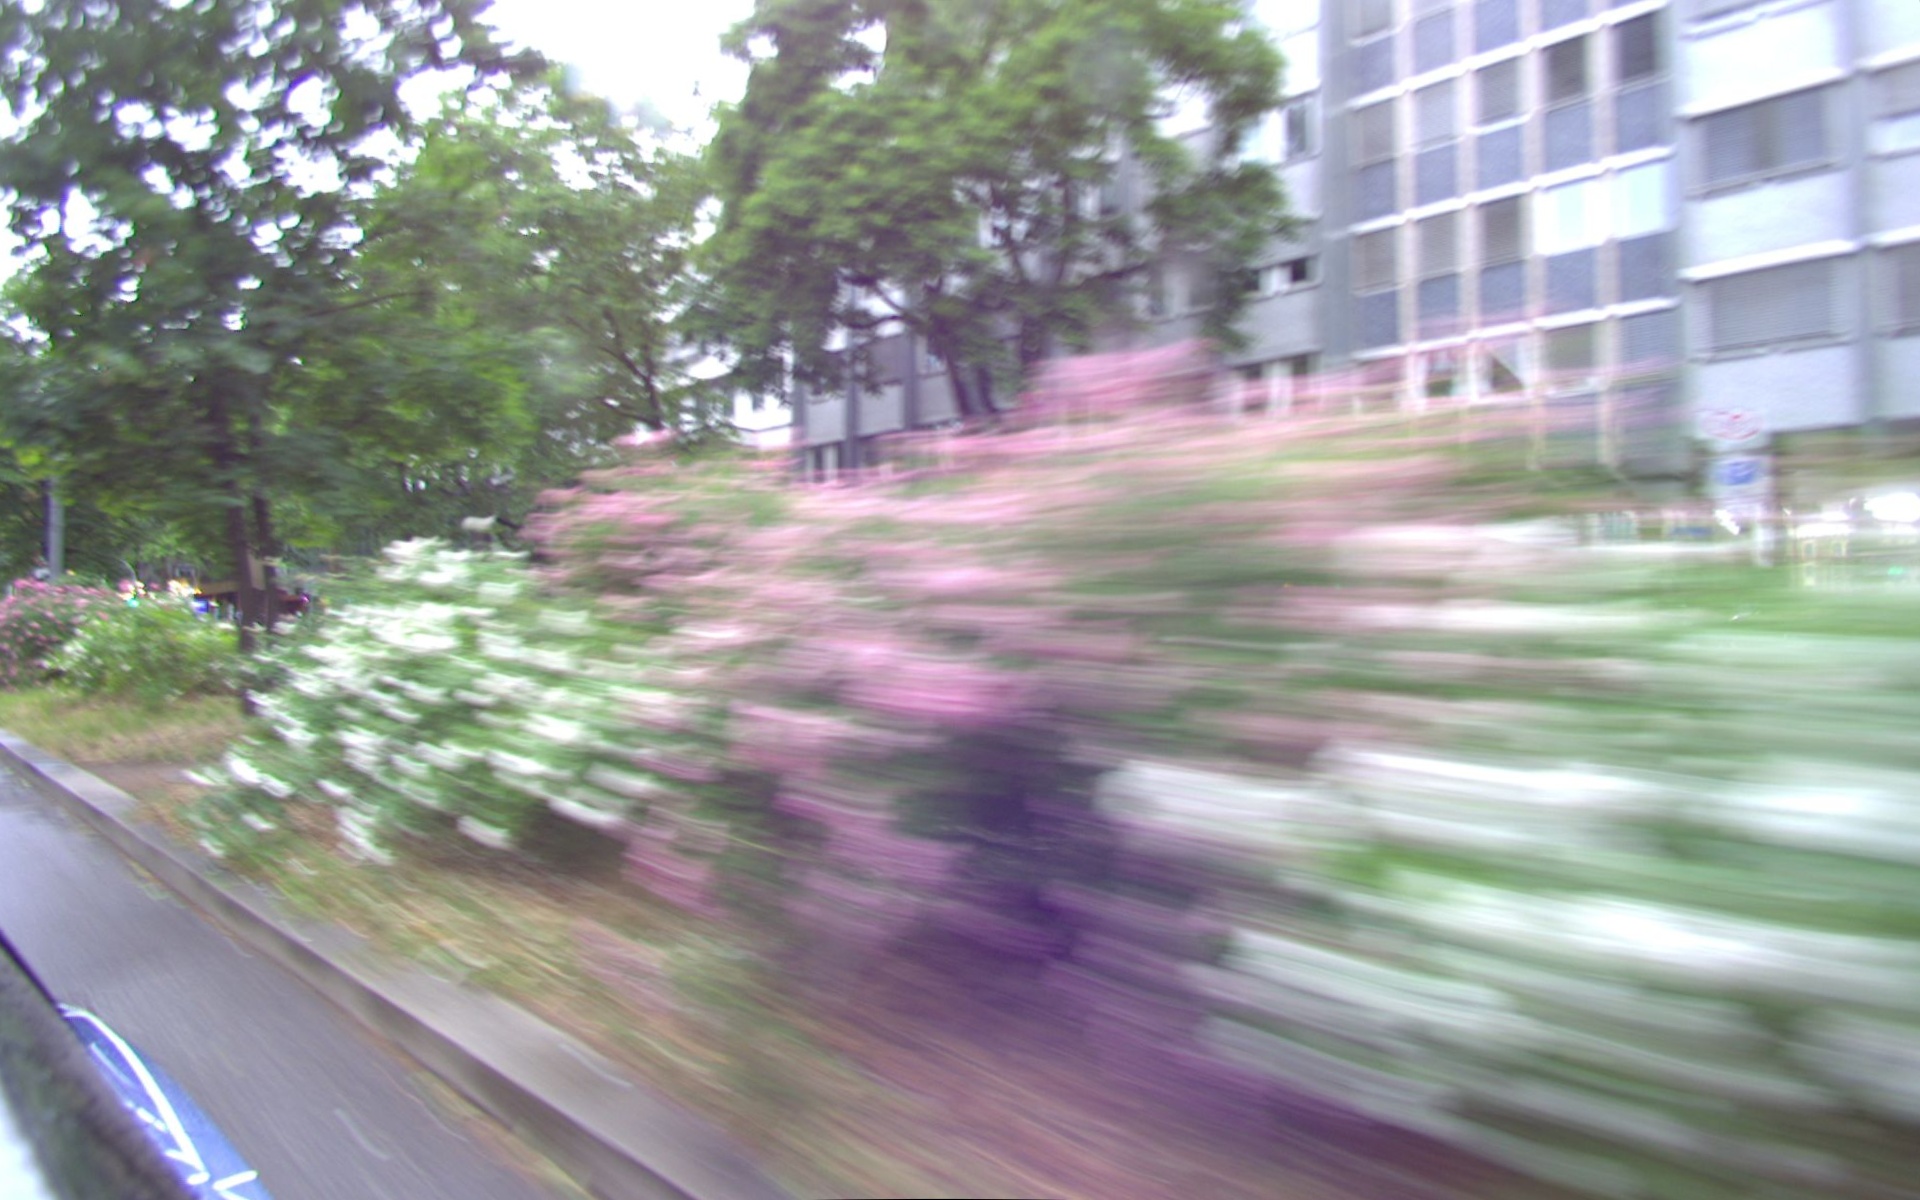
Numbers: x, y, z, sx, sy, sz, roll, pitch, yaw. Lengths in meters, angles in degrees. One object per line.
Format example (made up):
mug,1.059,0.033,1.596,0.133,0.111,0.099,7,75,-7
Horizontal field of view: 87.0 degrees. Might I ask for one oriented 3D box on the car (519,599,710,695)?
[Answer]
car,-6.651,0.838,19.290,4.013,1.650,1.704,-1,-1,42
